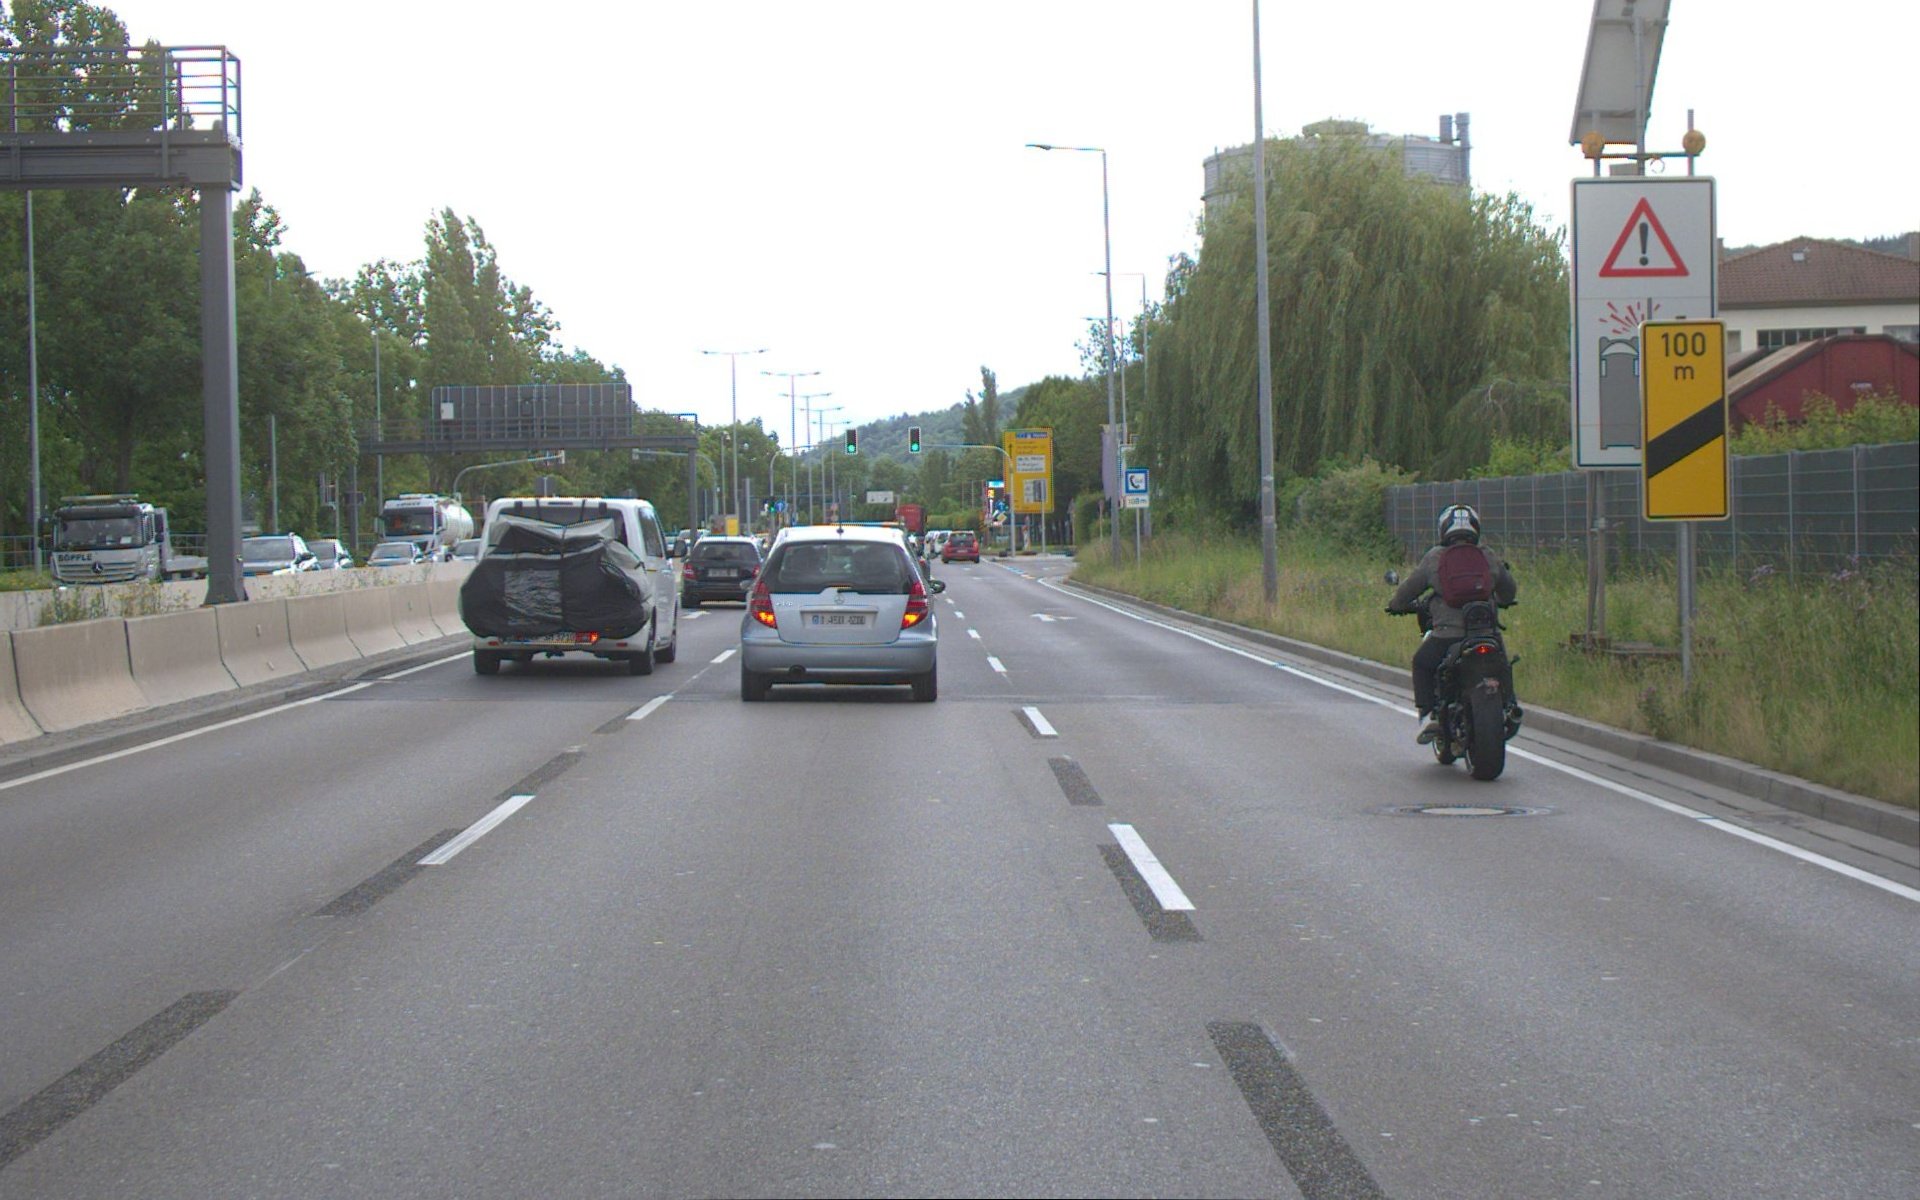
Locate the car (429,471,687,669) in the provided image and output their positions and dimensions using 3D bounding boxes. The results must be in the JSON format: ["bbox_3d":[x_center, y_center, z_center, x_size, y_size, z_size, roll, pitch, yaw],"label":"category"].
[{"bbox_3d":[-4.202,-0.364,36.773,2.214,1.919,5.003,1,1,-1],"label":"car"}]

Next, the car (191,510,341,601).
[{"bbox_3d":[-13.006,-0.868,64.676,1.926,1.612,4.456,1,1,0],"label":"car"}]

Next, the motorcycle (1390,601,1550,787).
[{"bbox_3d":[3.160,0.558,21.458,0.706,1.036,2.027,1,1,1],"label":"motorcycle"}]

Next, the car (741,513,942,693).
[{"bbox_3d":[-1.071,-0.022,31.913,1.710,1.525,4.001,1,1,-1],"label":"car"}]

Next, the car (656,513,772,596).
[{"bbox_3d":[-4.819,-0.916,67.784,1.993,1.546,4.000,1,1,0],"label":"car"}]

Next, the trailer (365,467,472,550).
[{"bbox_3d":[-22.115,-3.751,140.942,3.100,3.209,11.670,1,1,-3],"label":"trailer"}]

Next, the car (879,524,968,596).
[{"bbox_3d":[-0.807,-0.896,74.692,1.840,1.459,4.000,1,1,-1],"label":"car"}]

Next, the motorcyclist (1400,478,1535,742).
[{"bbox_3d":[3.161,0.050,21.471,0.685,1.604,0.845,1,1,1],"label":"motorcyclist"}]

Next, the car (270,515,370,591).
[{"bbox_3d":[-16.519,-1.239,88.910,1.816,1.870,4.101,1,1,-1],"label":"car"}]

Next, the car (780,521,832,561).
[{"bbox_3d":[-6.198,-2.397,138.487,1.993,1.546,4.001,1,1,-2],"label":"car"}]

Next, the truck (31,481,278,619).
[{"bbox_3d":[-20.010,-1.357,86.623,2.854,3.096,15.888,1,1,-2],"label":"truck"}]

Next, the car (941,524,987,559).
[{"bbox_3d":[0.165,-2.756,161.609,1.993,1.546,4.001,1,1,-2],"label":"car"}]

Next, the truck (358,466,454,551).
[{"bbox_3d":[-21.830,-3.609,135.616,3.098,3.208,5.392,1,1,-3],"label":"truck"}]

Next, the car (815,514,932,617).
[{"bbox_3d":[-1.456,-0.624,59.197,1.907,1.678,4.000,1,1,0],"label":"car"}]
